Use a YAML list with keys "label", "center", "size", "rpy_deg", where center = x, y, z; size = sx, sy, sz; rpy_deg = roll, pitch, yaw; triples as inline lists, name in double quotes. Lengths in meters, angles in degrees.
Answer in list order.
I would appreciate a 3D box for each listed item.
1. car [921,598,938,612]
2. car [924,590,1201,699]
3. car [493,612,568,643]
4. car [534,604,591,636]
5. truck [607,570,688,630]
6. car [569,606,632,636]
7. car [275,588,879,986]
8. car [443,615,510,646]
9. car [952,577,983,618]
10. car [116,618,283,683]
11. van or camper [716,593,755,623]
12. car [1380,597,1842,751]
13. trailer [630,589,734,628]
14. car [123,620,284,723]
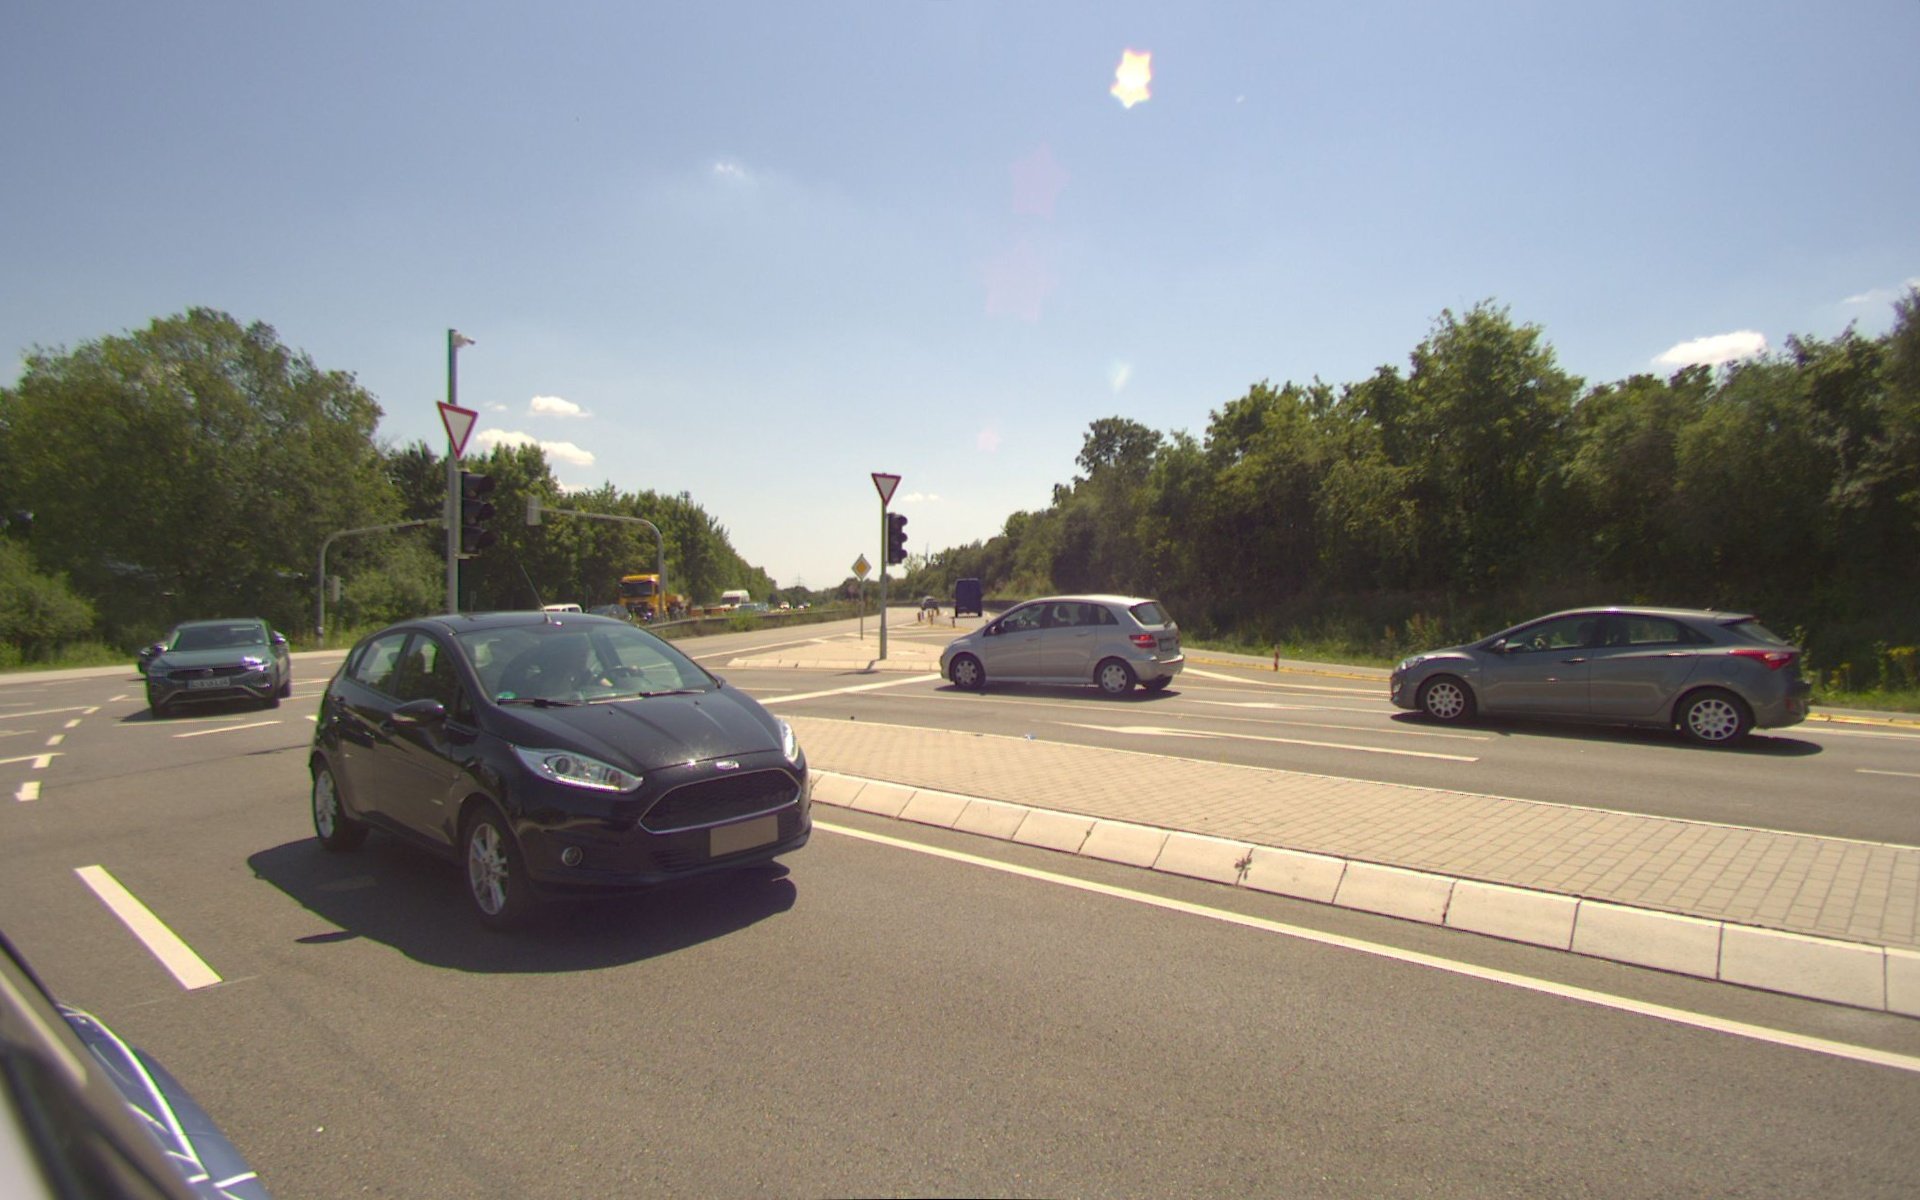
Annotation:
- label: "car"
  center: [-3.950, 0.672, 132.404]
  size: [1.973, 1.705, 4.655]
  rpy_deg: [-1, 0, 1]
- label: "car"
  center: [1.661, 0.688, 17.003]
  size: [4.317, 1.607, 1.757]
  rpy_deg: [-1, 0, 33]
- label: "car"
  center: [-23.136, 1.452, 54.681]
  size: [1.751, 1.421, 4.603]
  rpy_deg: [-2, 1, 5]
- label: "car"
  center: [-25.626, 1.245, 65.419]
  size: [1.749, 1.821, 4.792]
  rpy_deg: [-2, 1, 0]
- label: "truck"
  center: [-21.609, -0.034, 70.493]
  size: [2.983, 3.801, 7.465]
  rpy_deg: [-2, 0, 2]
- label: "car"
  center: [-21.874, 1.245, 61.826]
  size: [1.768, 1.652, 4.639]
  rpy_deg: [-2, 1, 6]
- label: "car"
  center: [-2.440, 0.751, 5.854]
  size: [3.999, 1.496, 1.606]
  rpy_deg: [-1, 1, 43]
- label: "car"
  center: [-26.428, 1.634, 55.426]
  size: [1.750, 1.520, 3.649]
  rpy_deg: [-2, 1, 3]
- label: "car"
  center: [0.488, -0.212, 71.957]
  size: [2.037, 2.724, 5.897]
  rpy_deg: [-2, 1, 0]
- label: "car"
  center: [-20.771, 1.320, 27.869]
  size: [1.863, 1.475, 4.006]
  rpy_deg: [-2, 1, -6]
- label: "van or camper"
  center: [-20.497, 0.660, 92.497]
  size: [2.041, 2.593, 5.905]
  rpy_deg: [-2, 1, 1]
- label: "car"
  center: [7.446, 0.731, 11.885]
  size: [4.330, 1.467, 1.673]
  rpy_deg: [-1, 0, 43]
- label: "trailer"
  center: [-21.291, 0.551, 78.987]
  size: [2.996, 2.613, 16.345]
  rpy_deg: [-2, 0, 2]
- label: "car"
  center: [-13.176, 1.148, 17.859]
  size: [1.678, 1.475, 4.013]
  rpy_deg: [-2, 1, -29]
